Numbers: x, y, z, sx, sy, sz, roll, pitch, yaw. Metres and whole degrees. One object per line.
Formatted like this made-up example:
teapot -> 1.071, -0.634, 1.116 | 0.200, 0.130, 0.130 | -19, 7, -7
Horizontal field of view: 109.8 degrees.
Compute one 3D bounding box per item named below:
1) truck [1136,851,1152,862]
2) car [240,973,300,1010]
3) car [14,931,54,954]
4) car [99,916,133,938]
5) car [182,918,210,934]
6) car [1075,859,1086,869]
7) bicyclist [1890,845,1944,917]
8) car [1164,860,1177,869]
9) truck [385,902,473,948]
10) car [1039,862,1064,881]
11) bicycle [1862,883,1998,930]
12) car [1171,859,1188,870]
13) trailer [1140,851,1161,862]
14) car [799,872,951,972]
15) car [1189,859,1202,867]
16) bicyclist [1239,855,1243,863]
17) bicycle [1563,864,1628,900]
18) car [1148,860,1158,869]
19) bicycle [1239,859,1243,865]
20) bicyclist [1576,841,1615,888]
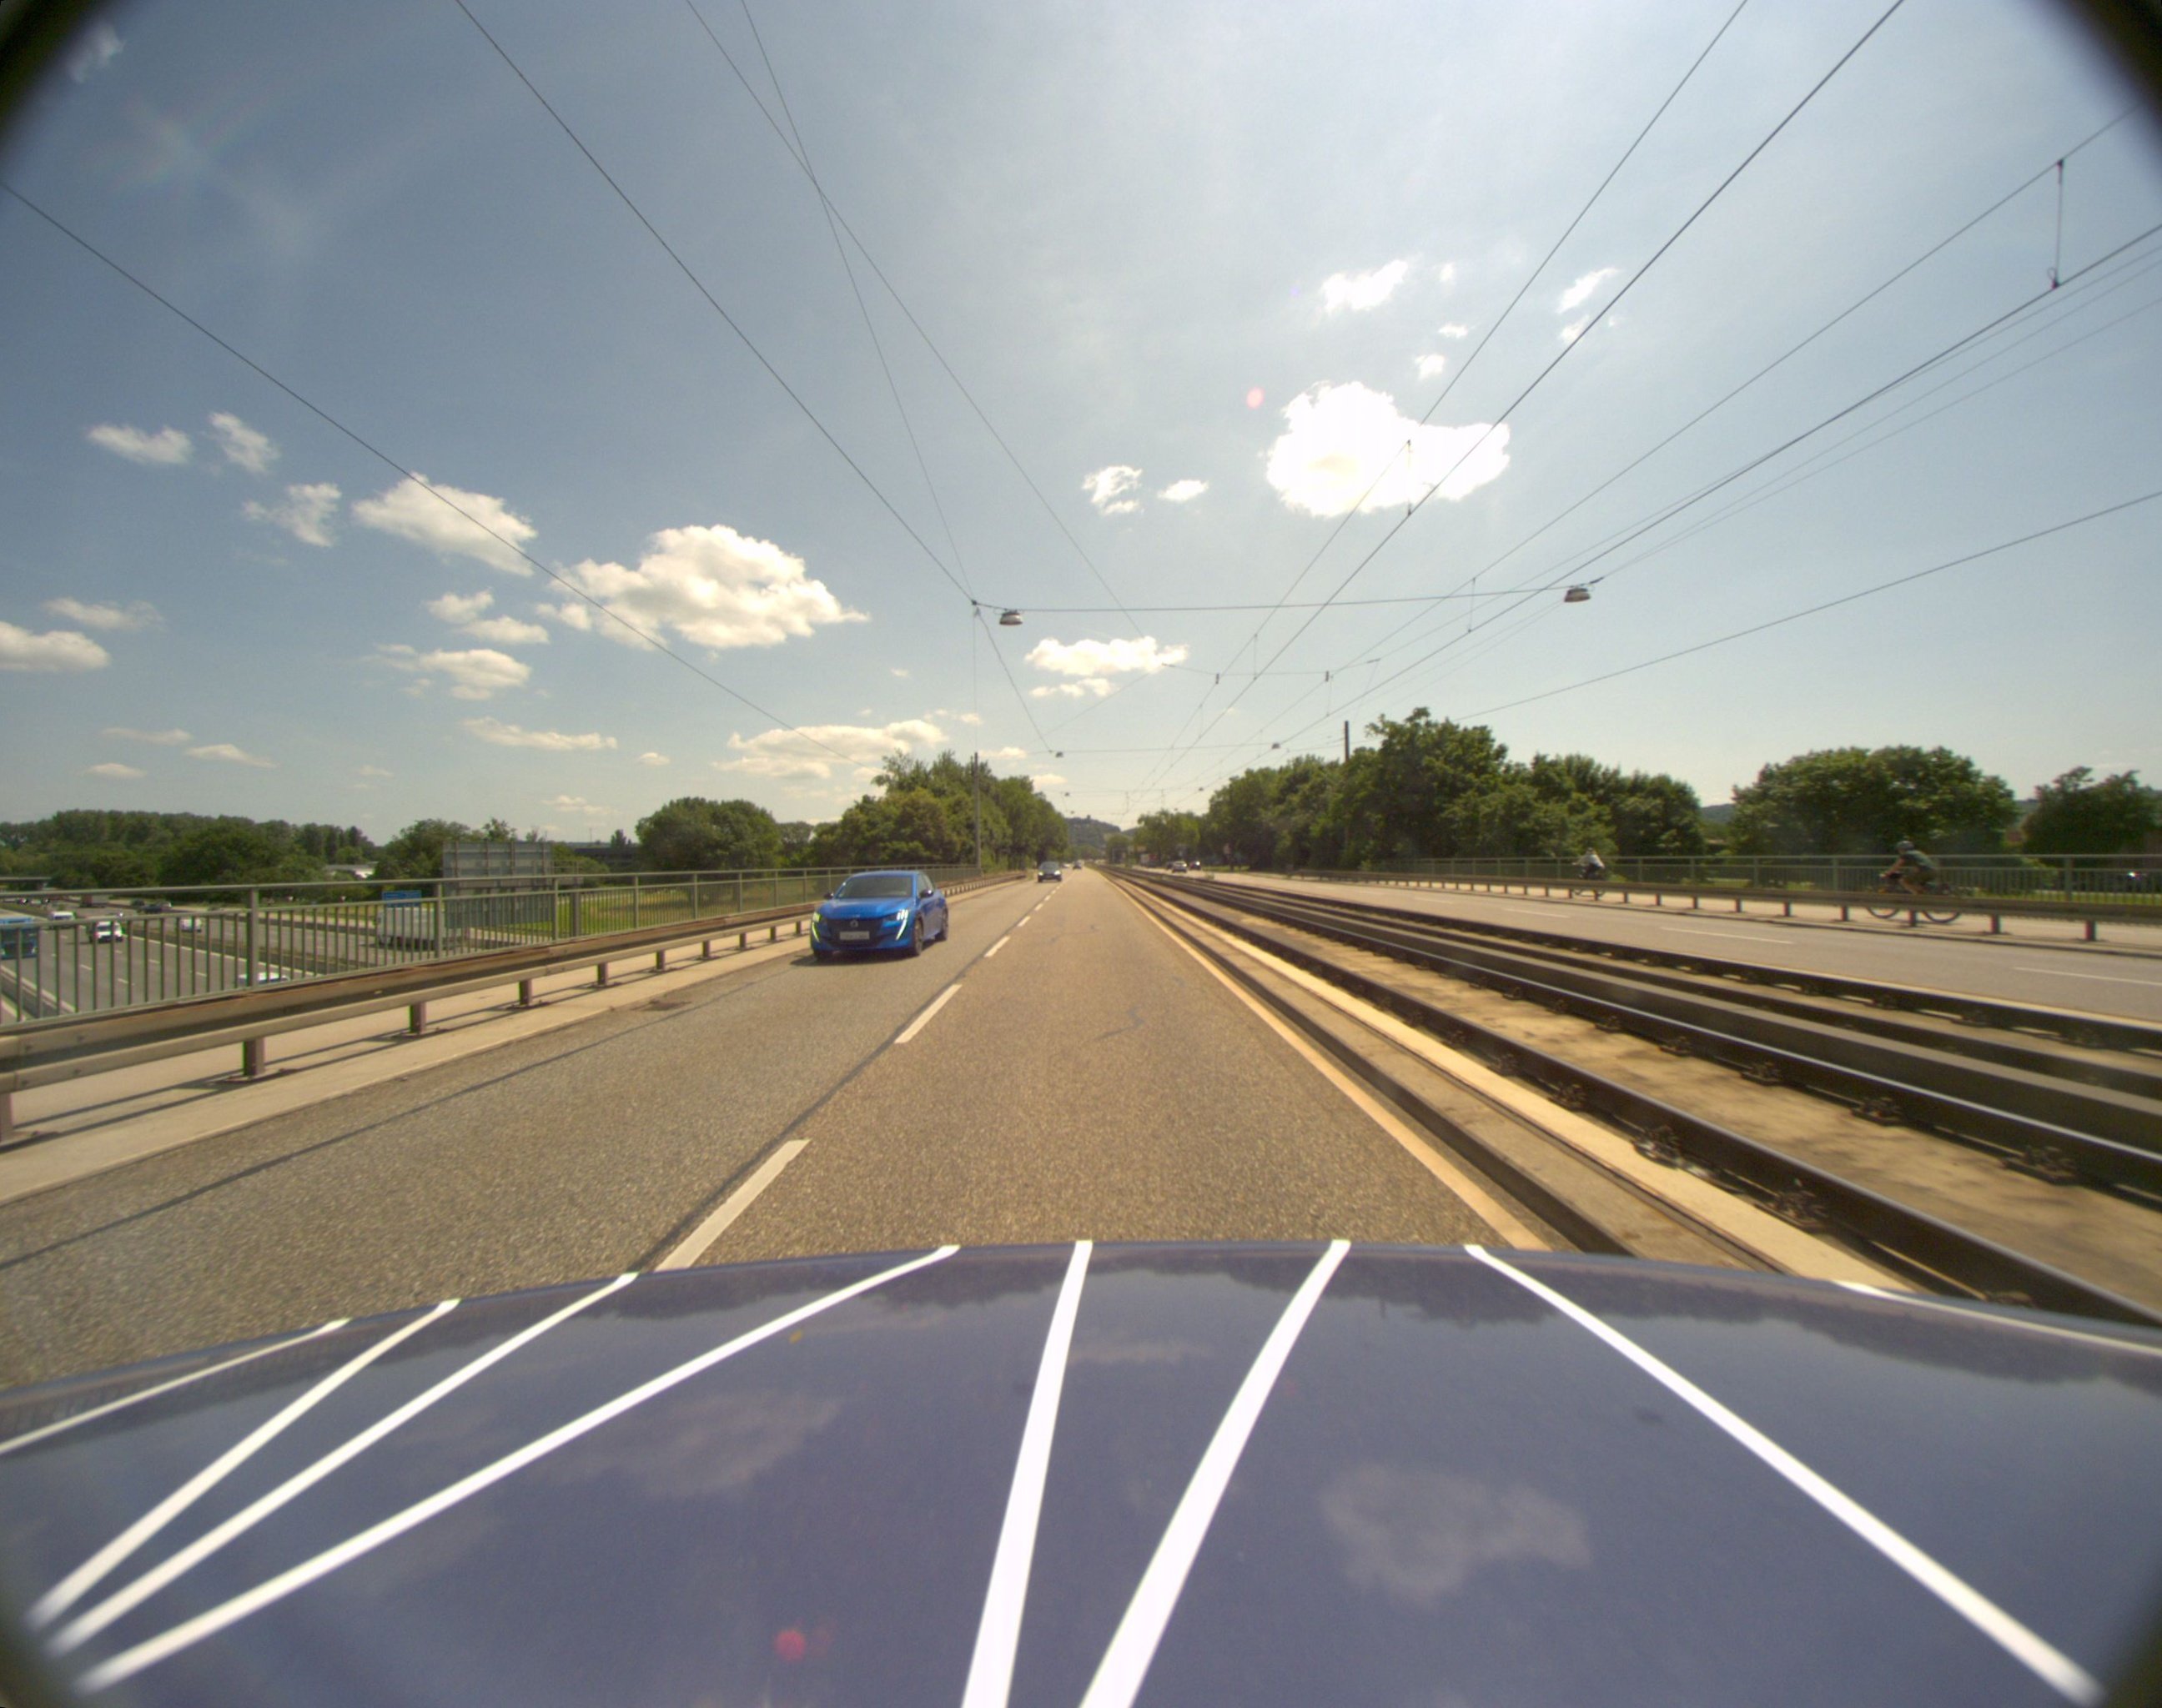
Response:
truck -> 20.842, 0.885, 251.146 | 3.419, 3.680, 6.753 | -1, 0, -11
car -> -49.163, 8.304, 46.034 | 3.991, 1.914, 1.633 | -6, 0, 32
car -> -105.808, 8.986, 76.782 | 3.991, 1.914, 1.964 | -6, 0, 32
car -> -114.697, 8.653, 90.267 | 3.991, 2.143, 1.964 | -6, 0, 32
car -> -120.201, 9.758, 103.178 | 3.989, 1.849, 1.821 | -2, 0, 31
car -> -0.100, 2.071, 154.790 | 1.999, 2.002, 3.999 | -2, 0, 0
bicyclist -> 17.670, 0.562, 16.062 | 0.522, 1.488, 0.530 | -2, 0, 0
car -> 14.773, 1.739, 125.402 | 1.578, 1.392, 3.938 | -1, 0, 0
truck -> -70.356, 7.481, 81.805 | 14.747, 4.196, 2.836 | -1, 2, 33
car -> -2.310, 1.365, 59.989 | 1.769, 1.359, 3.743 | -2, 0, 0
bicycle -> 17.695, 1.063, 15.923 | 0.524, 0.838, 2.036 | -3, 0, -1
car -> 12.618, 1.315, 97.441 | 1.715, 1.412, 4.624 | 0, 0, 1
trailer -> 22.188, 0.856, 243.621 | 3.389, 3.633, 12.097 | -1, 0, -11
car -> -3.522, 1.106, 13.674 | 1.660, 1.397, 3.743 | -2, 0, 0
car -> 18.351, 1.436, 121.442 | 1.567, 1.339, 3.929 | 0, 0, 1
bicyclist -> 27.871, 0.920, 132.502 | 0.570, 1.360, 0.631 | -2, 1, 5
bicycle -> 18.115, 0.959, 26.822 | 0.859, 1.178, 2.062 | -2, 0, 0
car -> 15.898, 2.386, 168.448 | 1.816, 1.914, 5.179 | 0, 0, 1
bicycle -> 27.888, 1.380, 132.469 | 0.587, 0.814, 2.069 | -3, 1, 6
bicyclist -> 18.109, 0.361, 26.743 | 0.765, 1.612, 0.838 | -2, 1, 0
